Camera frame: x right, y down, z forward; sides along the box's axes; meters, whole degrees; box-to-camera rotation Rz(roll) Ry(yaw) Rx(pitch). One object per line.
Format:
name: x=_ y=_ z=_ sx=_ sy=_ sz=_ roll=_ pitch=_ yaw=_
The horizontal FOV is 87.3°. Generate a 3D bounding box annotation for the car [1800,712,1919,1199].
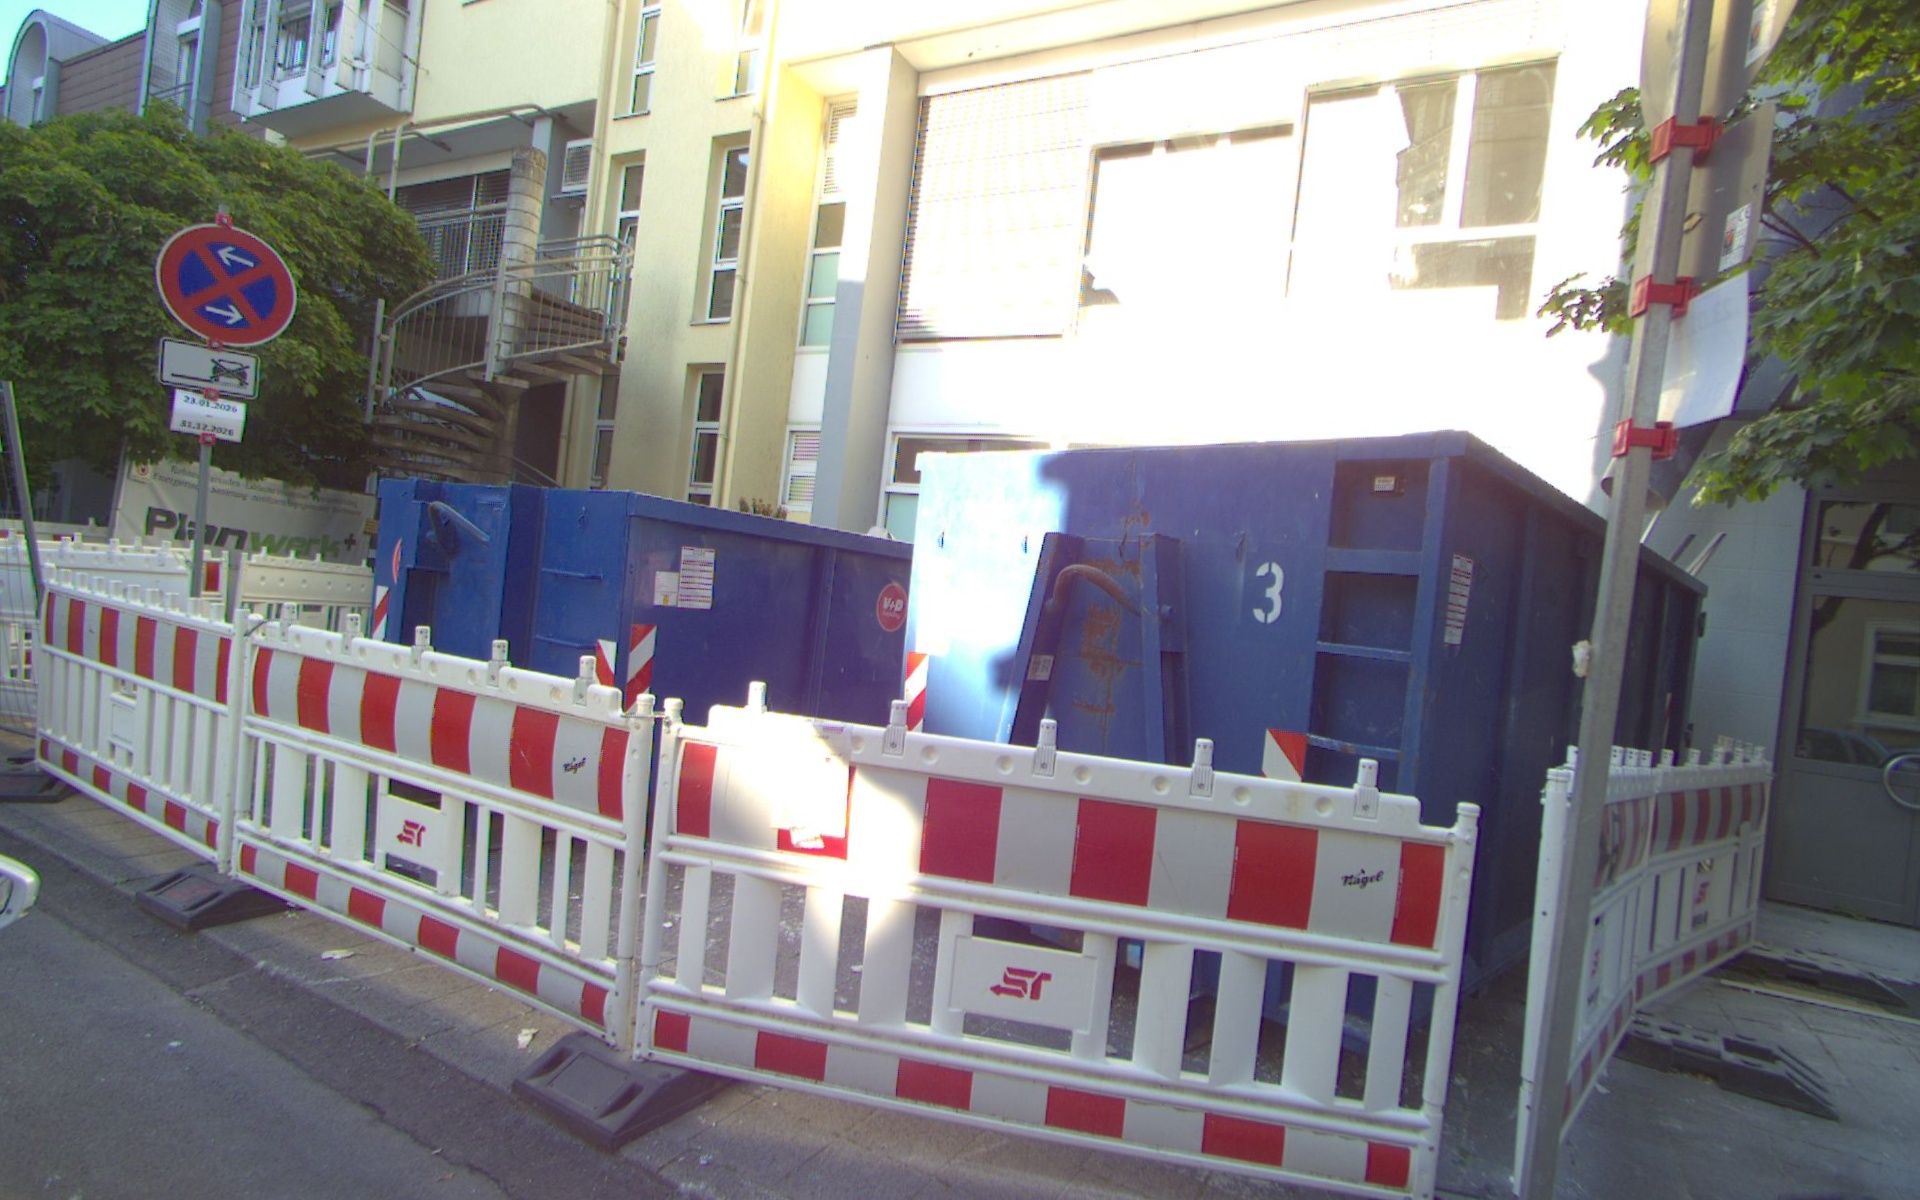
car: x=2.962 y=1.119 z=0.479 sx=3.668 sy=1.495 sz=1.677 roll=7 pitch=1 yaw=32
